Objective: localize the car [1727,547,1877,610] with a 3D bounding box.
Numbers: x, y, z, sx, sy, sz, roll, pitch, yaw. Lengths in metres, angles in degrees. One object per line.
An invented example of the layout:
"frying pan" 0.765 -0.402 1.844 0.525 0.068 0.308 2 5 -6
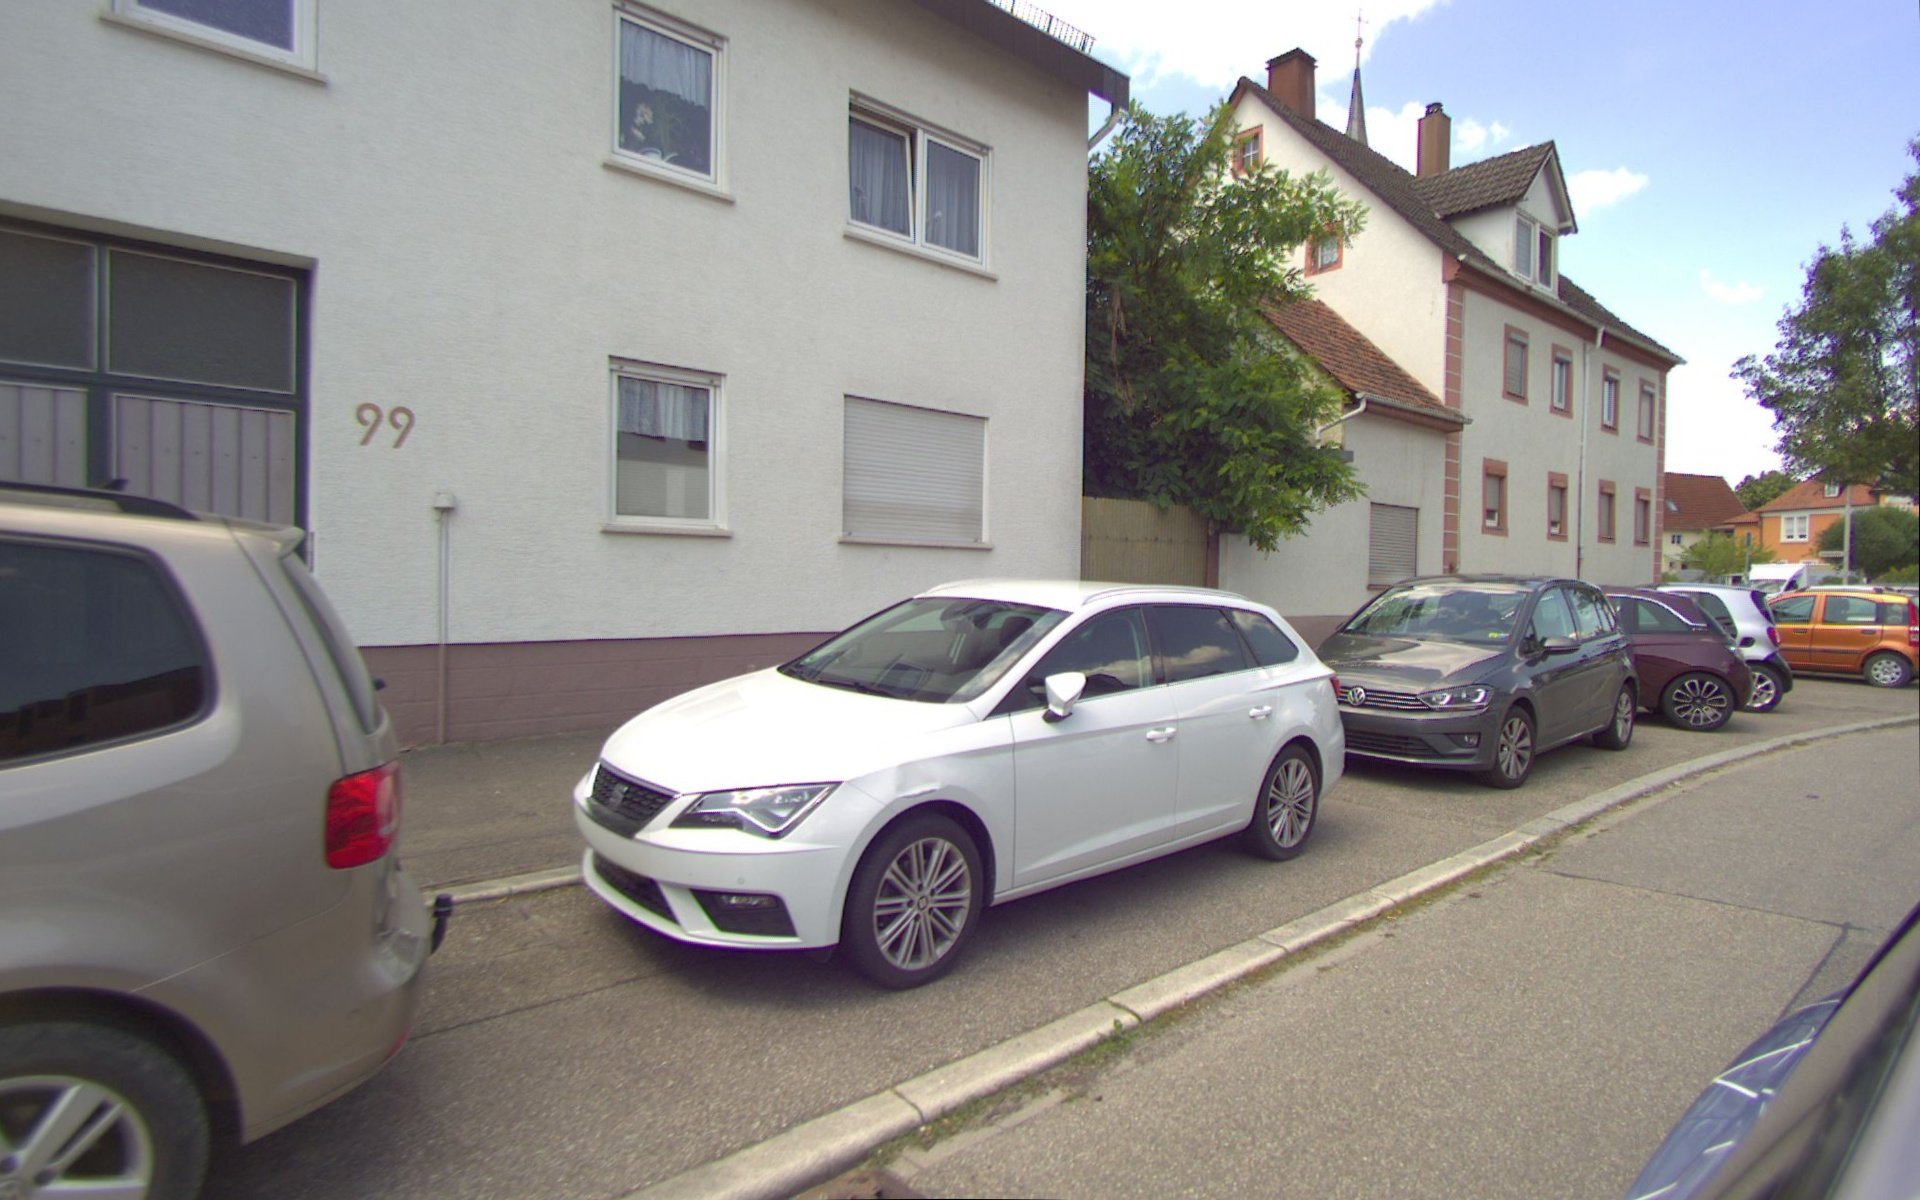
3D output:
"car" 42.773 -1.102 51.391 6.964 2.999 2.768 0 3 -22

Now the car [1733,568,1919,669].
"car" 16.453 0.320 18.100 1.819 1.596 3.855 0 4 -42

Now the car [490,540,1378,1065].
"car" 0.190 0.533 5.160 4.298 1.536 1.996 -1 3 -44

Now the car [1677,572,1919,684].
"car" 14.400 0.400 17.070 1.695 1.596 3.386 0 3 -39

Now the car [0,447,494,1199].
"car" -3.331 0.547 1.731 4.246 1.701 1.998 0 2 -39

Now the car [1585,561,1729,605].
"car" 43.338 -1.106 63.120 6.847 2.508 2.649 2 2 8

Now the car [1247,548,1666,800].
"car" 4.379 0.442 8.615 4.197 1.644 1.666 0 2 -41

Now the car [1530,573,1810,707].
"car" 9.284 0.437 13.521 2.762 1.523 1.860 2 2 28

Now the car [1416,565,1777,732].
"car" 7.053 0.444 11.647 3.203 1.523 1.812 4 3 25
